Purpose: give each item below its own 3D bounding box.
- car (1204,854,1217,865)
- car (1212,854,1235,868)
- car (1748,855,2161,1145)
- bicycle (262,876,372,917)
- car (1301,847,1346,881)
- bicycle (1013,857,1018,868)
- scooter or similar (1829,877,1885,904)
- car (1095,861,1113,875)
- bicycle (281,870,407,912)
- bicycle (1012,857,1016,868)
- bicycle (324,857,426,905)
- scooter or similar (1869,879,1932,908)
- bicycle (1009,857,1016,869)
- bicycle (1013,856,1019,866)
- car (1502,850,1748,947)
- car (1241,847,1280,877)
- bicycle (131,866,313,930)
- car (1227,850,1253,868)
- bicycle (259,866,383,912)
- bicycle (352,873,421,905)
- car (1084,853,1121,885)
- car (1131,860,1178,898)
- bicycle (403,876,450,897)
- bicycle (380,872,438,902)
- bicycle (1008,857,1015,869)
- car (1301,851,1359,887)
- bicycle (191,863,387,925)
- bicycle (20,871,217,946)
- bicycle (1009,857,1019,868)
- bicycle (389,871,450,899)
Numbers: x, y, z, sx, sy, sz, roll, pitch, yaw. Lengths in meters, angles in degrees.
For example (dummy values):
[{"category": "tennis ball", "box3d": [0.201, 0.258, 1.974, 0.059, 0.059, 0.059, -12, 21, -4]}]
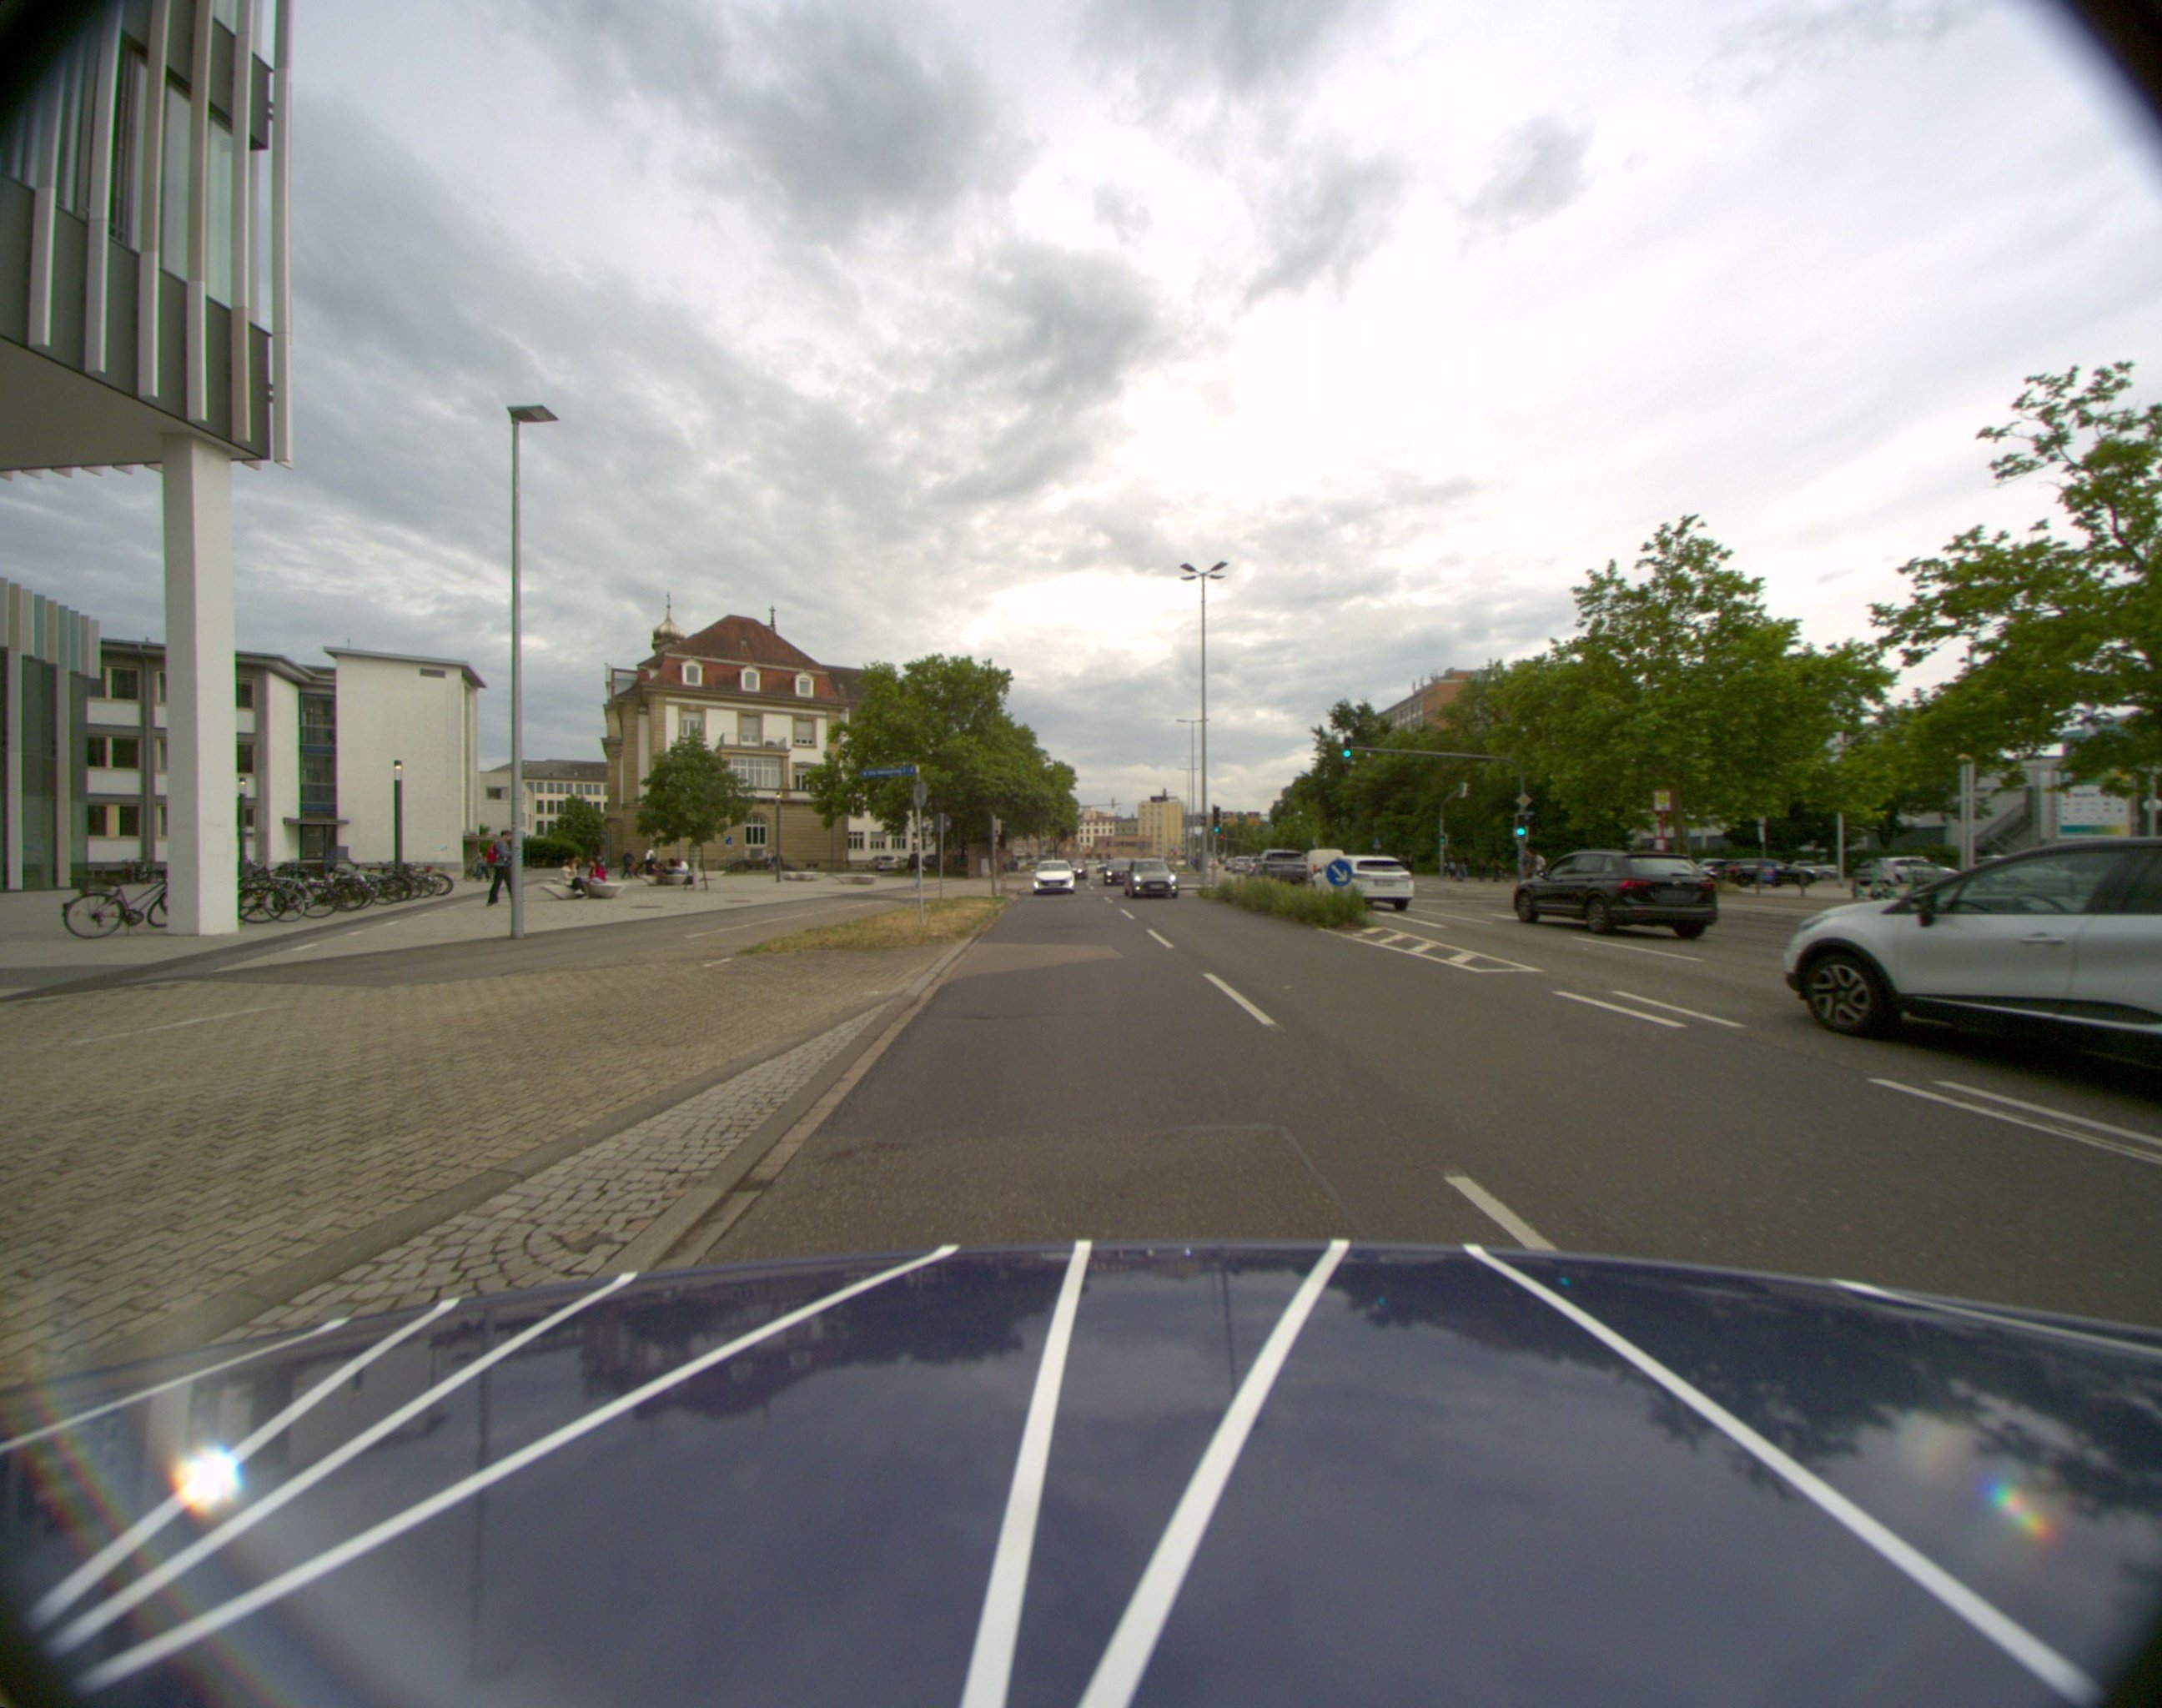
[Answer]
[{"category": "car", "box3d": [23.060, 0.960, 135.404, 1.892, 1.762, 4.002, -2, 0, 6]}, {"category": "car", "box3d": [15.668, 0.748, 83.625, 1.998, 1.520, 4.275, 0, 0, 3]}, {"category": "car", "box3d": [6.811, 0.805, 4.587, 1.998, 1.538, 4.181, 1, 0, 3]}, {"category": "bicycle", "box3d": [-18.384, 1.000, 18.328, 0.670, 0.893, 1.850, 1, 0, 45]}, {"category": "car", "box3d": [14.312, 0.553, 45.099, 1.775, 1.837, 4.491, -2, 0, 8]}, {"category": "bicycle", "box3d": [-6.828, 0.881, 78.750, 0.339, 1.137, 1.940, -2, 0, -8]}, {"category": "scooter or similar", "box3d": [22.453, 1.045, 22.001, 0.407, 0.689, 1.290, -2, 0, 6]}, {"category": "car", "box3d": [2.464, 1.486, 81.586, 1.605, 1.360, 3.580, -2, 1, 6]}, {"category": "bicycle", "box3d": [-19.053, 0.940, 19.719, 2.195, 1.000, 0.780, 0, 0, -27]}, {"category": "bicycle", "box3d": [-7.122, 0.897, 80.592, 0.339, 1.137, 1.677, -2, 0, -8]}, {"category": "bicycle", "box3d": [-19.959, 0.766, 21.531, 2.010, 1.298, 0.645, 1, -1, -18]}, {"category": "scooter or similar", "box3d": [22.029, 1.055, 20.449, 0.407, 0.689, 1.290, -2, 0, 6]}, {"category": "bicycle", "box3d": [-6.865, 0.873, 75.619, 0.386, 1.137, 1.940, -2, 0, -13]}, {"category": "bicycle", "box3d": [-7.147, 0.766, 83.932, 0.478, 1.070, 2.083, 0, 0, 0]}, {"category": "car", "box3d": [10.728, 0.766, 15.515, 1.998, 1.684, 4.469, 0, 0, 3]}, {"category": "car", "box3d": [12.407, 0.547, 52.754, 1.998, 2.002, 4.001, 0, 0, 3]}, {"category": "bicycle", "box3d": [-16.084, 0.784, 14.331, 2.187, 1.109, 0.734, 0, 0, -39]}, {"category": "car", "box3d": [14.759, 0.498, 70.702, 1.961, 1.574, 4.258, 0, -1, 6]}, {"category": "bicycle", "box3d": [-17.708, 0.783, 17.780, 1.964, 0.996, 0.772, 0, 0, -38]}, {"category": "bicycle", "box3d": [-20.341, 1.014, 22.277, 1.476, 0.893, 0.393, 0, 0, -41]}, {"category": "car", "box3d": [1.433, 0.931, 49.468, 1.997, 2.002, 4.002, 0, 0, 7]}, {"category": "car", "box3d": [2.811, 0.892, 28.511, 1.624, 1.310, 3.707, 0, 0, 7]}, {"category": "bicycle", "box3d": [-22.368, 1.096, 25.978, 1.189, 0.687, 0.489, 2, -1, -41]}, {"category": "bicycle", "box3d": [-21.182, 1.023, 23.975, 1.360, 0.893, 0.541, 0, 0, -41]}, {"category": "bicycle", "box3d": [-6.633, 0.856, 72.451, 0.386, 1.137, 1.940, -2, 0, -13]}, {"category": "car", "box3d": [12.014, 0.681, 36.871, 1.702, 1.680, 4.001, 0, 0, 3]}, {"category": "bicycle", "box3d": [-16.267, 0.786, 15.747, 2.725, 1.181, 0.772, 0, 0, -38]}, {"category": "bicycle", "box3d": [-15.250, 0.829, 12.128, 0.640, 1.055, 1.841, -2, 0, 8]}, {"category": "bicycle", "box3d": [-6.787, 0.875, 77.119, 0.386, 1.137, 1.938, -2, 0, -23]}, {"category": "bicycle", "box3d": [-22.551, 1.047, 25.913, 1.554, 0.893, 0.507, 0, 0, -41]}]
